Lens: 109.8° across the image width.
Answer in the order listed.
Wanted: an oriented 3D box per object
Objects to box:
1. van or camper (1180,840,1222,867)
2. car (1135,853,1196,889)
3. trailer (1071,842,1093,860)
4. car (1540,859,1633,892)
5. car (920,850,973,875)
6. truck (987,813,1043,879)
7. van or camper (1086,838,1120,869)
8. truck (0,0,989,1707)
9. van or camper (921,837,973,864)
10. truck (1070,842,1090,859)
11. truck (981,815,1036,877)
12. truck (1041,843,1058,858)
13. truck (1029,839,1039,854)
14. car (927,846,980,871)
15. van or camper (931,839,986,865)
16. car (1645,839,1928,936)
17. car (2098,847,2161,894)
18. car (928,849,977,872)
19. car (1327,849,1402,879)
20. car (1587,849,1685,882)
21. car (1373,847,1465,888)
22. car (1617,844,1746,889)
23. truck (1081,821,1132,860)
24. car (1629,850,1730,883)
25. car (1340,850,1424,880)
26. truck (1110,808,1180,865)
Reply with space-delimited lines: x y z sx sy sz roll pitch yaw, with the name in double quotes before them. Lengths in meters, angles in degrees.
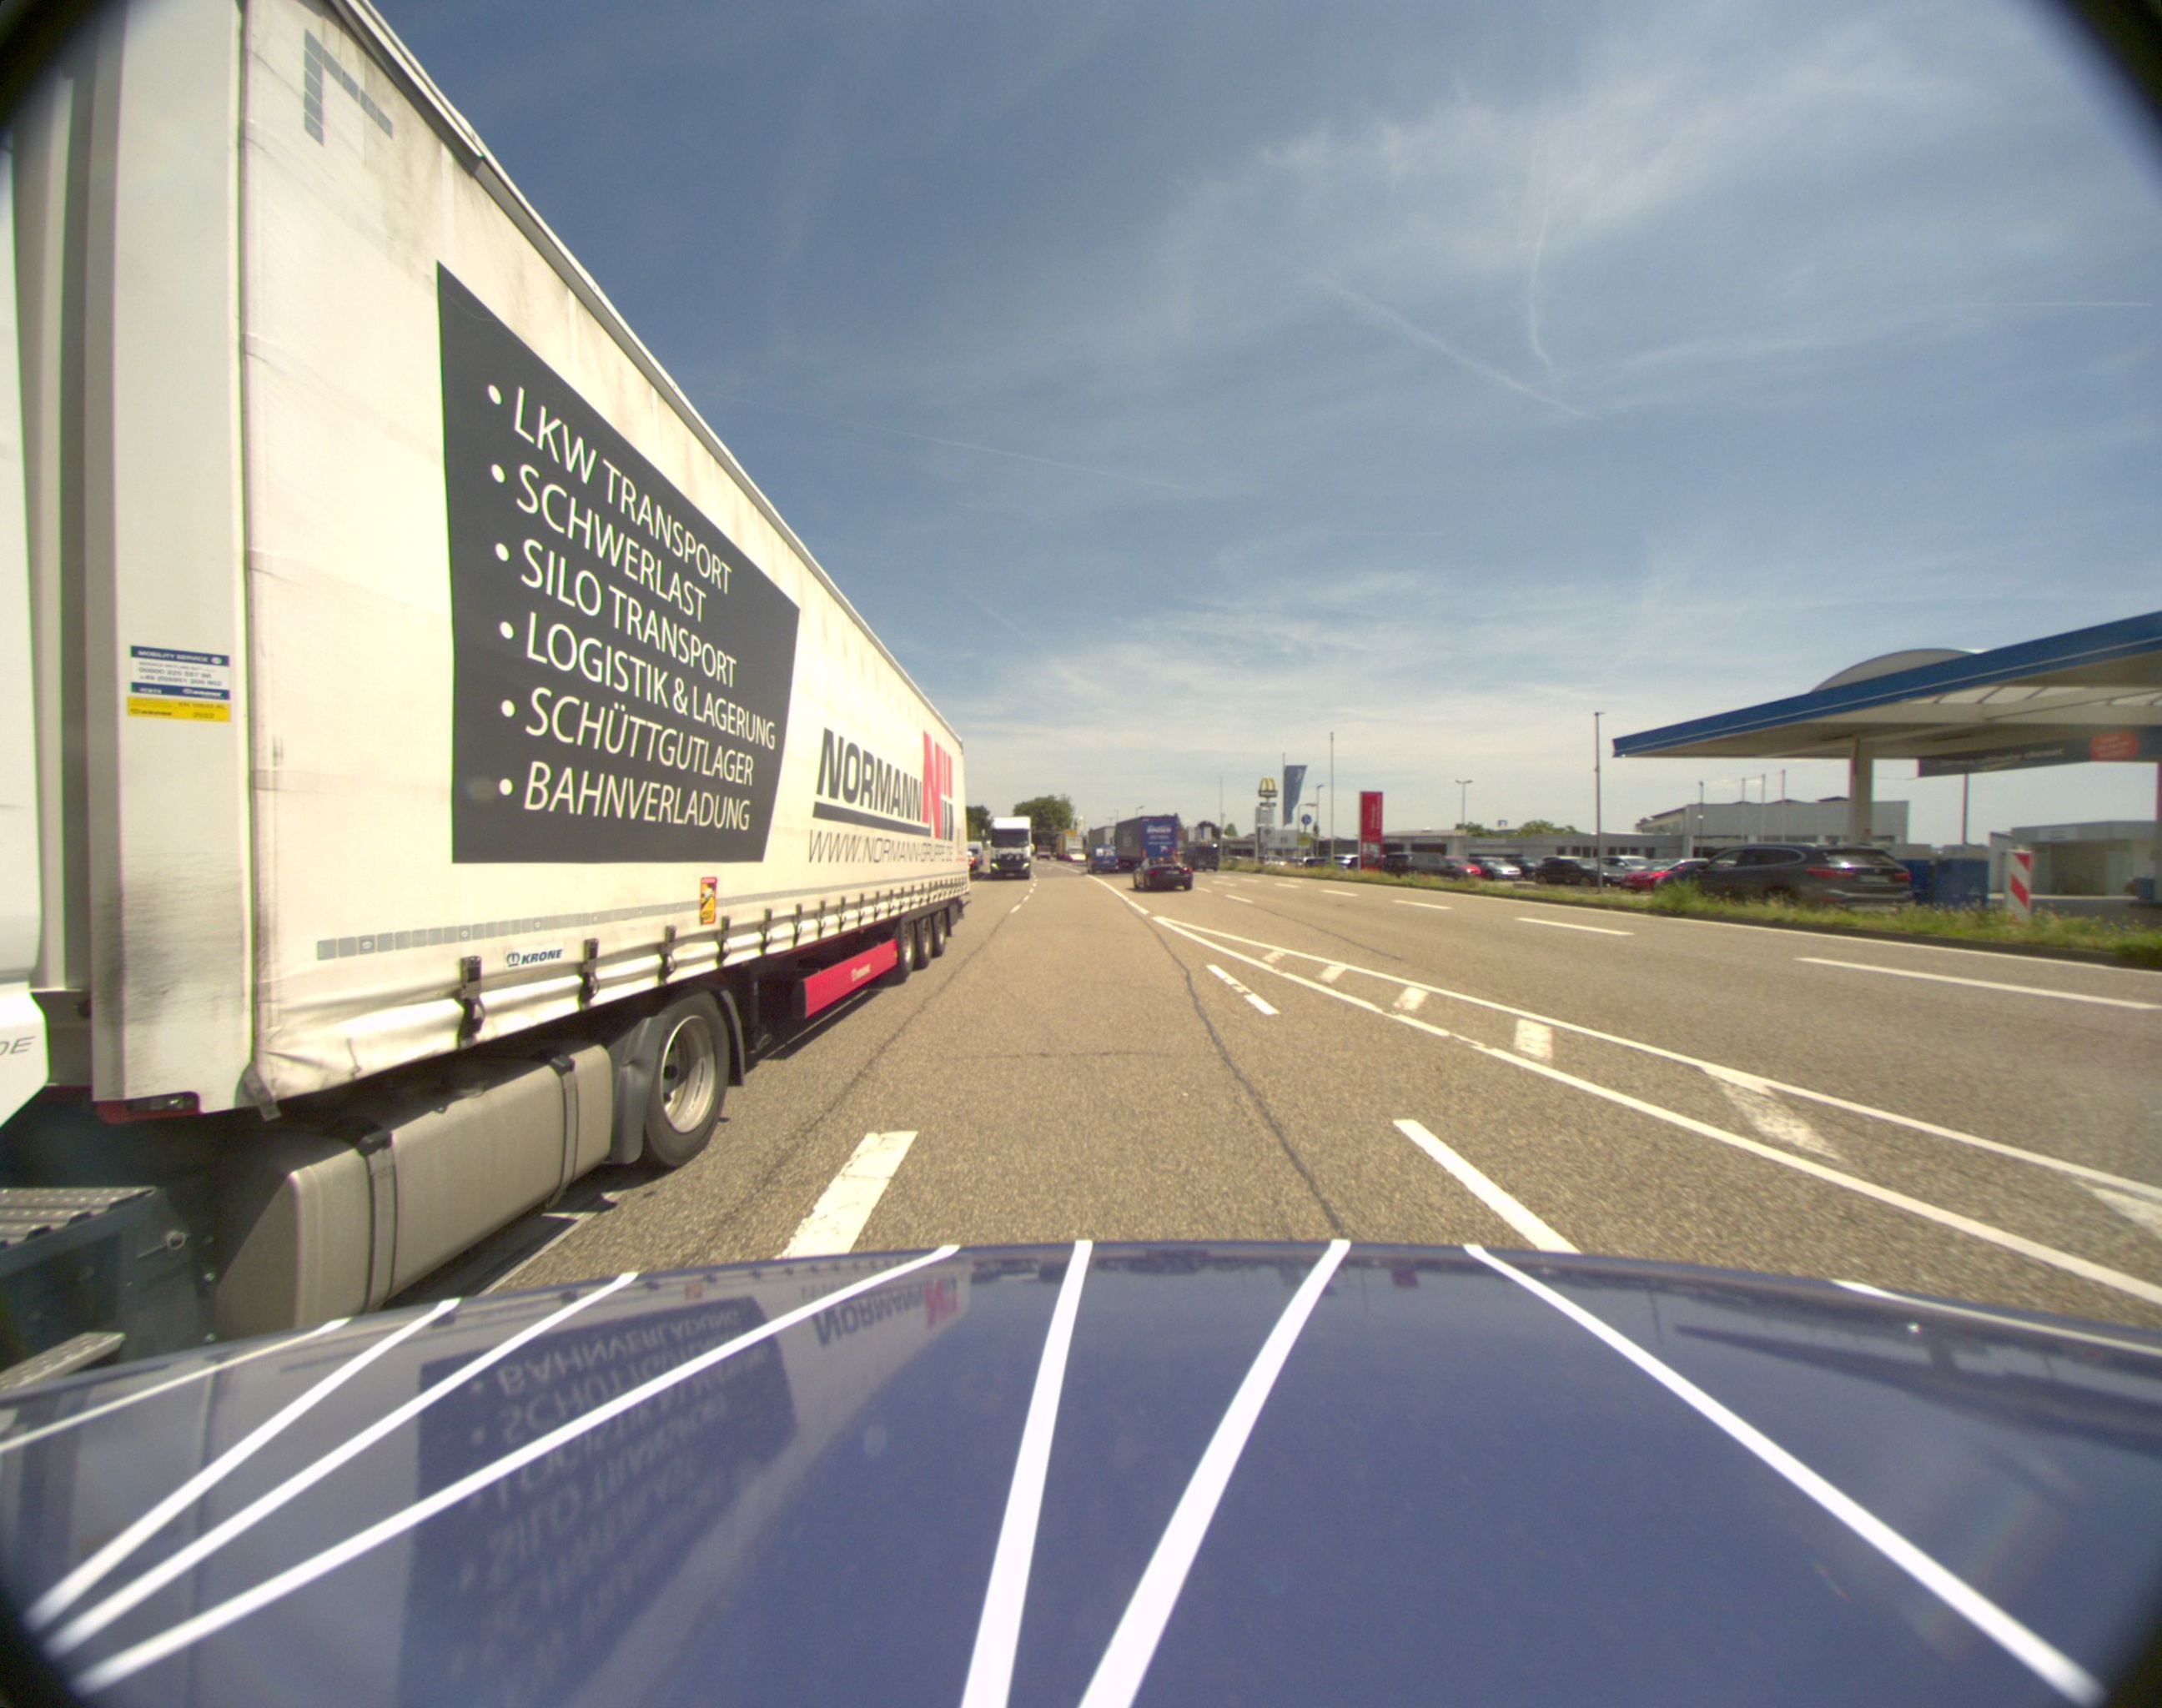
"van or camper" 8.986 -0.052 57.390 1.999 1.924 5.381 0 0 -4
"car" 3.333 0.638 30.797 1.853 1.264 4.175 -2 1 -1
"trailer" 0.075 -0.439 105.685 2.435 2.325 6.892 2 1 -4
"car" 24.434 1.008 36.895 1.711 1.433 3.998 -1 0 -4
"car" -9.594 0.594 54.392 3.538 1.469 1.831 5 0 -8
"truck" -4.397 -0.513 49.502 2.983 3.987 6.320 2 1 -10
"van or camper" 1.542 -0.030 55.712 1.842 2.125 5.339 -1 1 -5
"truck" -3.455 -0.468 7.621 2.981 4.070 17.629 -3 1 -1
"van or camper" -14.482 -0.420 82.303 5.384 2.889 2.231 0 1 -5
"truck" -0.178 -0.456 109.237 2.432 2.327 5.672 2 0 -4
"truck" -5.645 -0.603 56.794 2.983 3.987 14.108 2 0 -10
"truck" -5.478 -0.604 130.943 2.403 2.431 6.867 -1 1 -5
"truck" -14.012 -2.274 225.321 2.613 3.995 15.120 2 1 -5
"car" -10.010 0.354 59.678 3.867 1.681 1.942 4 0 -6
"van or camper" -12.840 -0.227 79.876 5.492 2.714 2.231 0 1 -5
"car" 14.158 0.574 15.718 1.832 1.709 4.570 0 0 4
"car" 39.939 0.558 27.378 3.997 1.630 1.948 0 1 0
"car" -9.665 0.477 57.339 3.538 1.469 1.831 5 0 -8
"car" 15.908 0.530 42.570 4.190 1.577 1.777 0 1 -32
"car" 27.040 0.532 37.184 1.711 1.526 3.998 -1 0 -4
"car" 15.159 0.545 34.033 4.006 1.695 1.838 -1 1 -31
"car" 26.014 0.516 33.015 3.996 1.893 2.000 0 1 2
"truck" 2.593 -1.492 84.039 2.799 3.867 16.467 -1 1 -8
"car" 29.426 0.585 37.512 1.711 1.526 3.998 -1 0 -4
"car" 15.830 0.550 39.934 4.005 1.477 1.816 -1 1 -25
"truck" 4.732 -1.242 60.845 2.852 3.866 16.997 0 0 -5
